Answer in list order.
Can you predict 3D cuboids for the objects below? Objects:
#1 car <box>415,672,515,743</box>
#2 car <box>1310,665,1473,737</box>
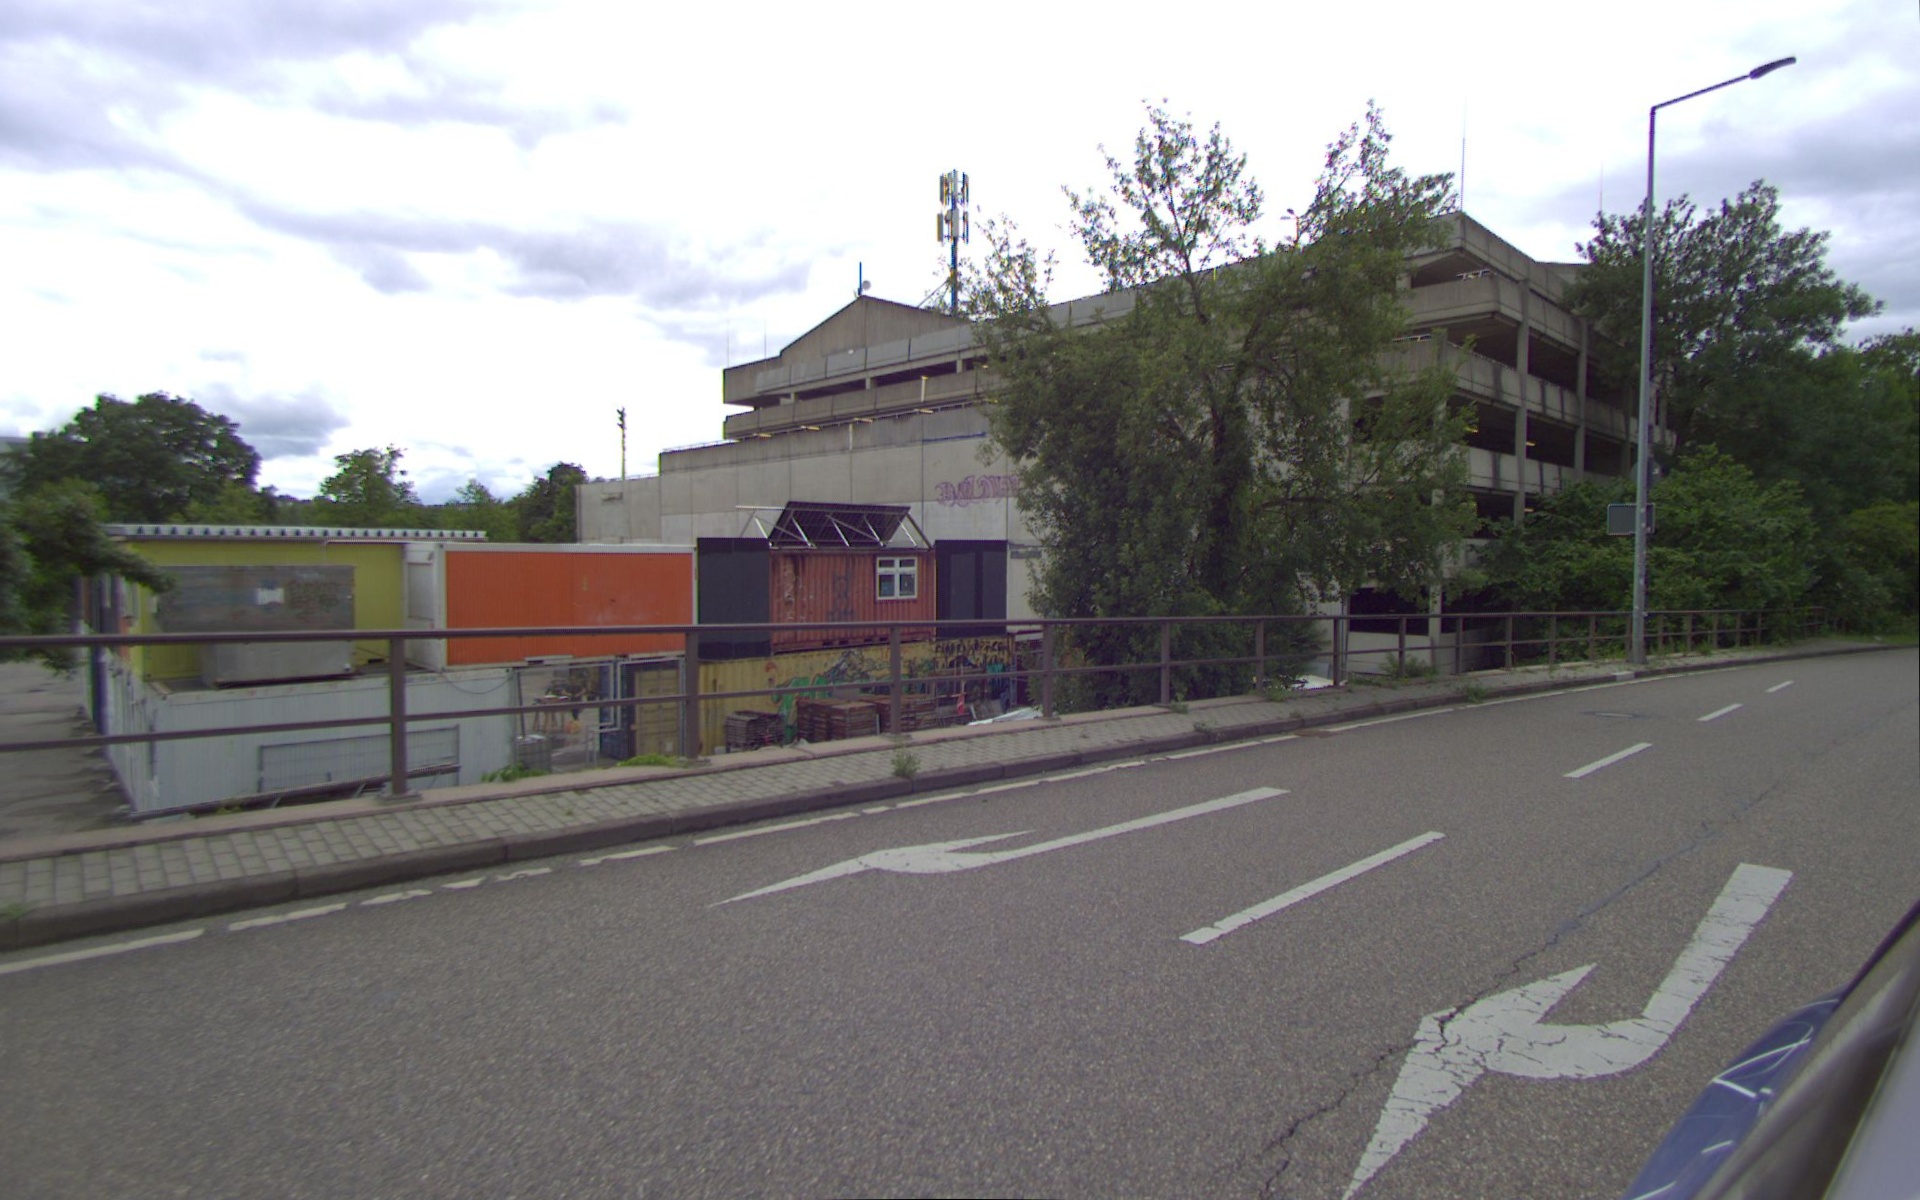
[{"bbox_3d":[-15.417,3.255,31.411,1.964,1.551,3.997,0,3,-39],"label":"car"},{"bbox_3d":[14.685,3.374,34.629,1.968,1.806,4.747,-3,3,-45],"label":"car"}]
